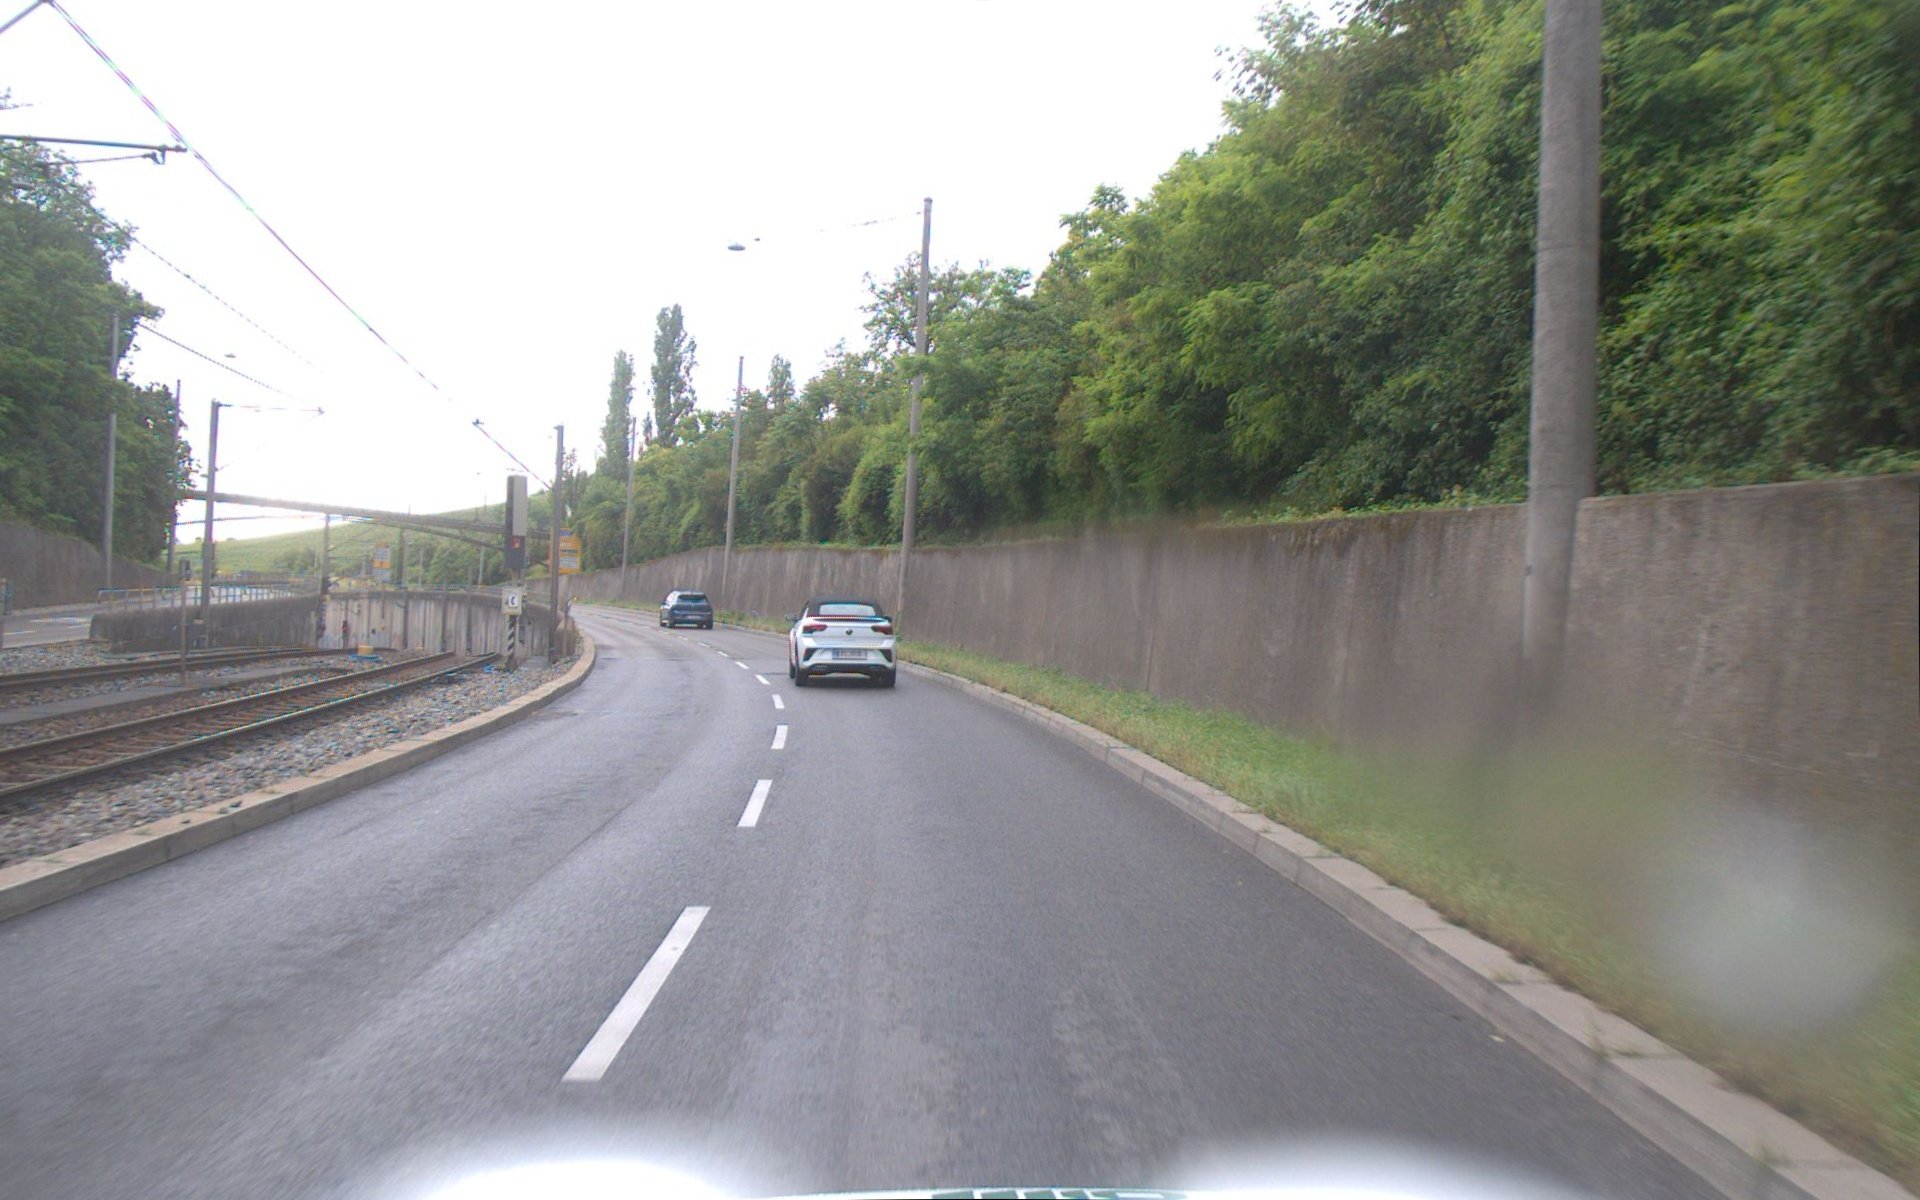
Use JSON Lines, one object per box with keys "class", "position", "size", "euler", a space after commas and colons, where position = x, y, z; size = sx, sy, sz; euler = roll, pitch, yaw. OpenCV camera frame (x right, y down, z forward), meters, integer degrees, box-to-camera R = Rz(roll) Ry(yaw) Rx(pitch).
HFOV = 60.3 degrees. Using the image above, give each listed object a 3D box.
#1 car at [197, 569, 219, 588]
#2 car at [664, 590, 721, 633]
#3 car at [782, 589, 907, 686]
{"class": "car", "position": [-73.757, -2.112, 162.200], "size": [1.795, 1.734, 4.076], "euler": [1, 0, -26]}
{"class": "car", "position": [-10.716, 0.426, 66.132], "size": [1.894, 1.627, 4.046], "euler": [1, 0, -14]}
{"class": "car", "position": [-2.158, 0.625, 29.896], "size": [1.958, 1.606, 4.118], "euler": [1, 0, -8]}
